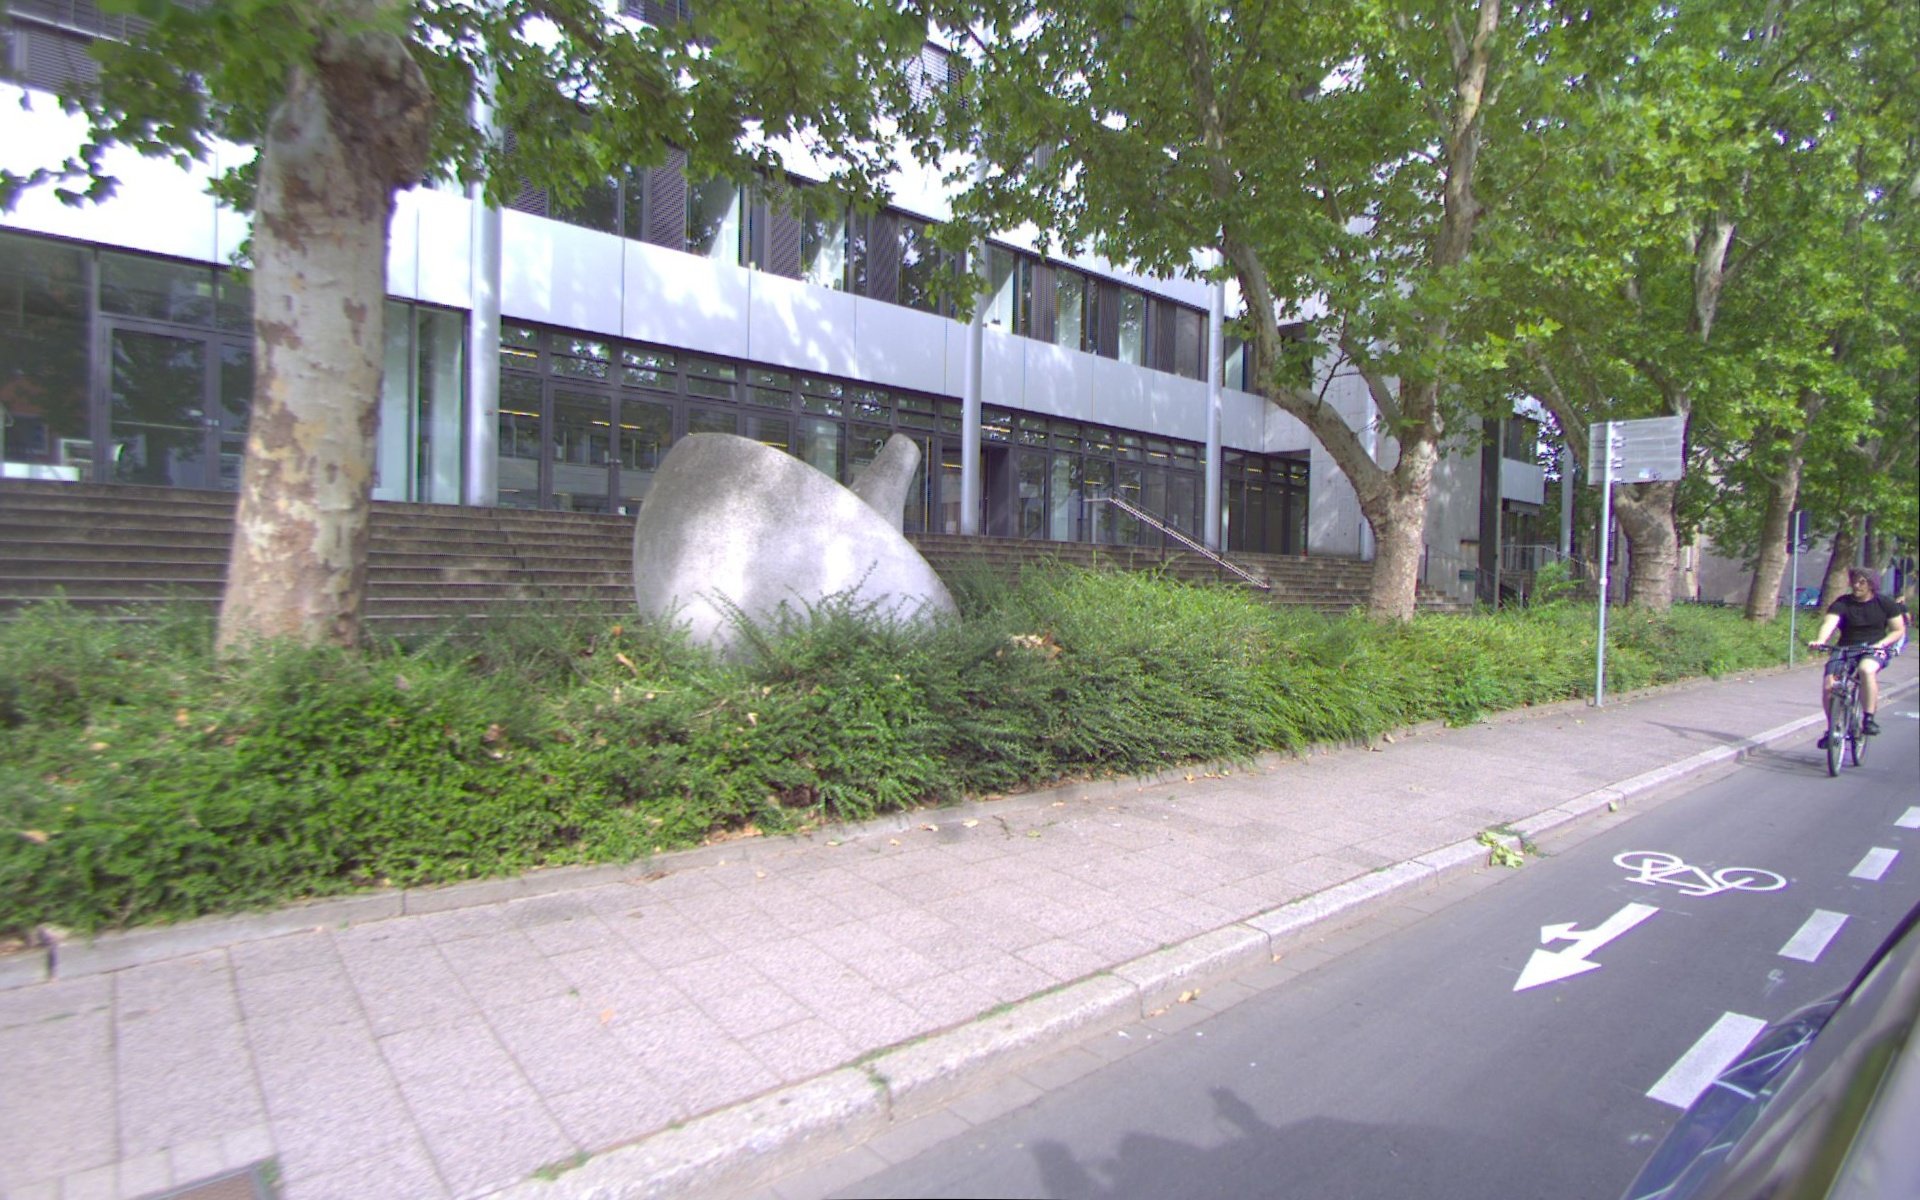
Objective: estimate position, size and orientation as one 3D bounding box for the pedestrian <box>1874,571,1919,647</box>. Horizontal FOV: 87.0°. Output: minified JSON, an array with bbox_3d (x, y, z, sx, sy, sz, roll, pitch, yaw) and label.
[{"bbox_3d":[25.863,0.250,27.785,0.979,2.039,1.003,0,-1,-39],"label":"pedestrian"}]

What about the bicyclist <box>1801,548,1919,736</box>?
[{"bbox_3d":[8.213,0.363,9.165,0.787,1.603,0.772,1,-2,-40],"label":"bicyclist"}]

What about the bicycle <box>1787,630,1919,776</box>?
[{"bbox_3d":[8.183,0.860,9.125,1.968,1.145,0.772,1,-1,-40],"label":"bicycle"}]
